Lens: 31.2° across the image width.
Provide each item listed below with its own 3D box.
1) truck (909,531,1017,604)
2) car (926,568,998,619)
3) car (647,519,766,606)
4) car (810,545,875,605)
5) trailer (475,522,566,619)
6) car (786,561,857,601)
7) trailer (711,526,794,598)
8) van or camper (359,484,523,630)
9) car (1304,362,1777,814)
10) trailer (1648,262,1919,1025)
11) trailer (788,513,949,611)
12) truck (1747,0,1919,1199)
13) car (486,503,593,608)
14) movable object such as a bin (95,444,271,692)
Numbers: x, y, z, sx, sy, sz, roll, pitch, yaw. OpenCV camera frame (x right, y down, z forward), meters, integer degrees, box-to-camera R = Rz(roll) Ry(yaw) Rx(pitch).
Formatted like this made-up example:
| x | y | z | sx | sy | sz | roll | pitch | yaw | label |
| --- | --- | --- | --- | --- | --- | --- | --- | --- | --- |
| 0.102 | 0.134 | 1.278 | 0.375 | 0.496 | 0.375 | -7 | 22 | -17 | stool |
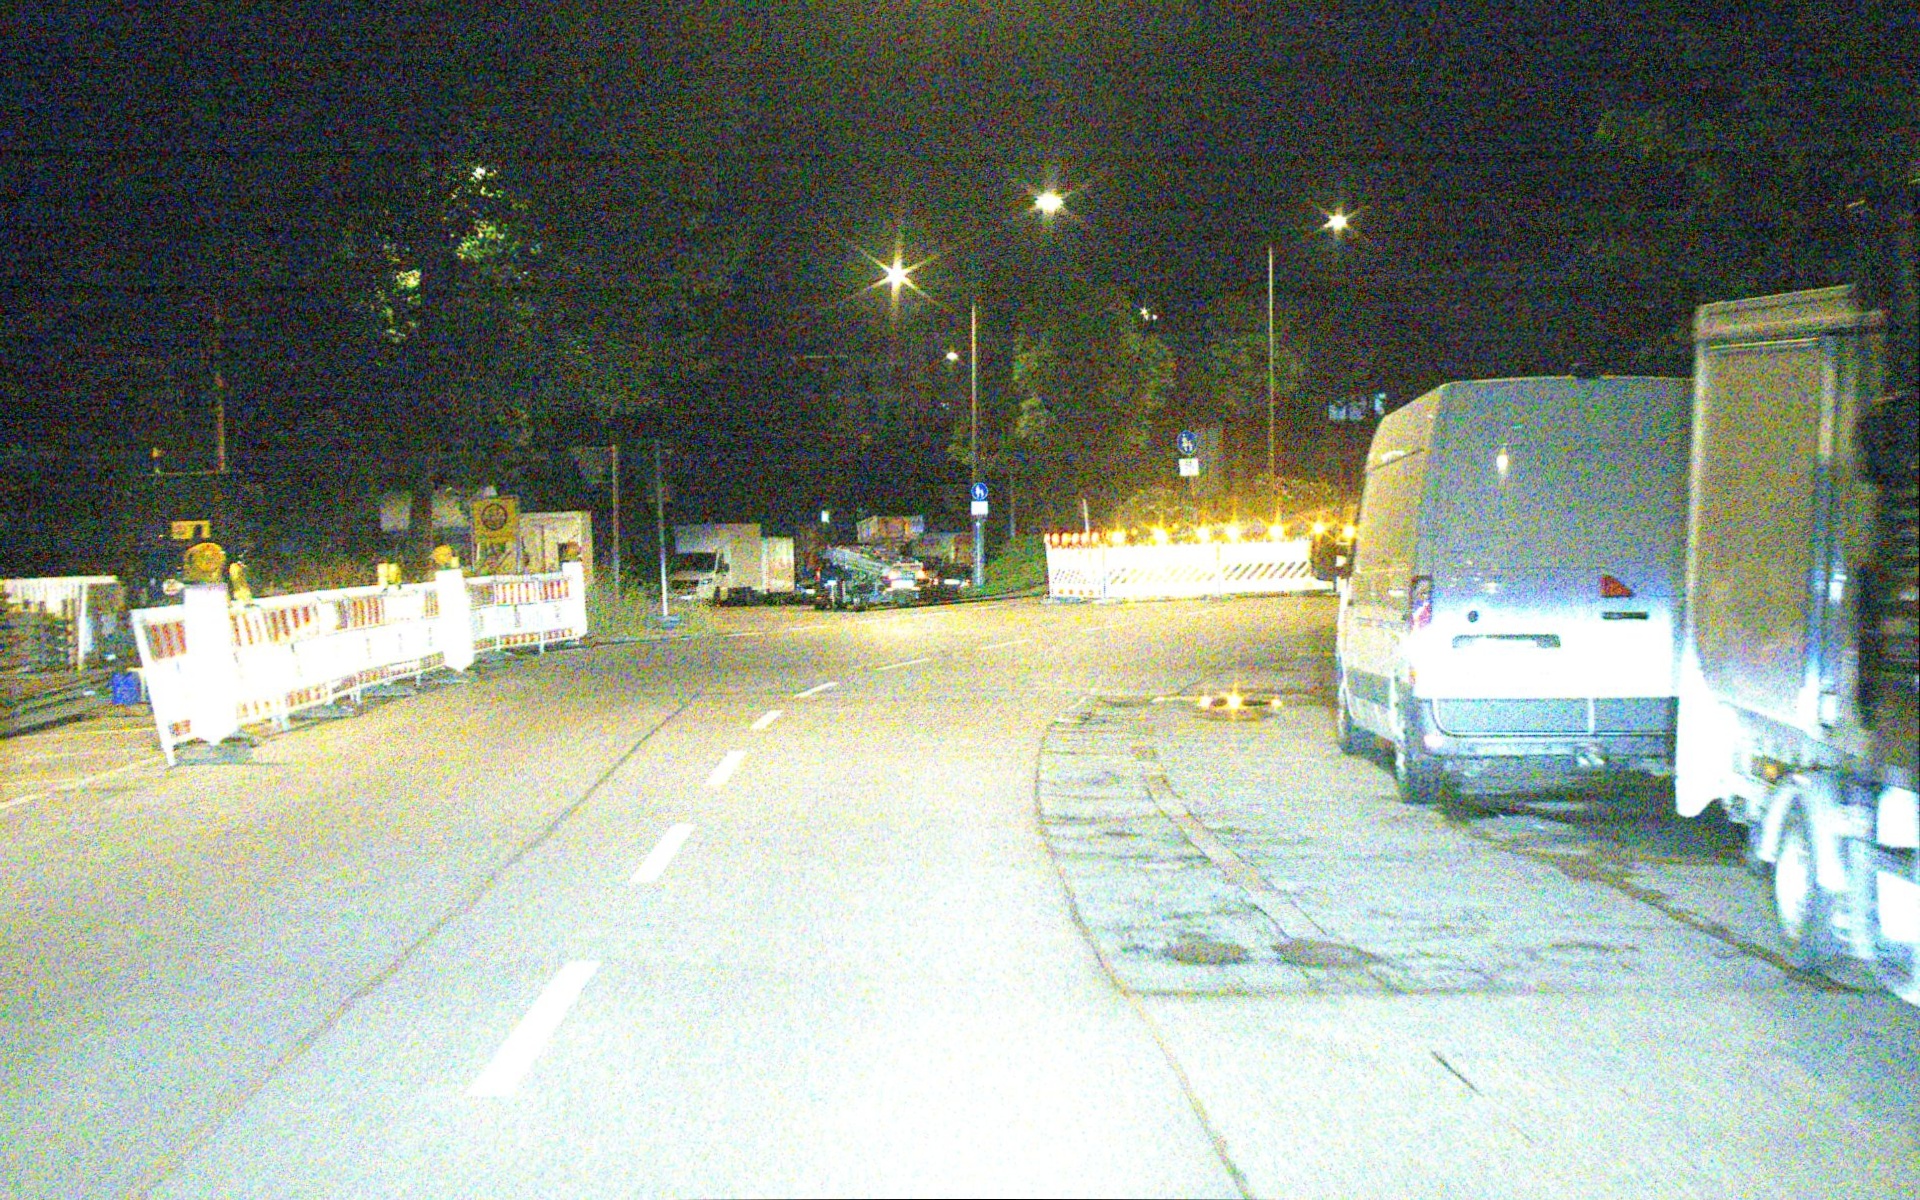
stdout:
| x | y | z | sx | sy | sz | roll | pitch | yaw | label |
| --- | --- | --- | --- | --- | --- | --- | --- | --- | --- |
| 0.200 | -1.622 | 167.900 | 1.996 | 3.392 | 8.969 | 1 | 2 | 23 | truck |
| 0.086 | -0.241 | 125.272 | 1.722 | 1.815 | 3.997 | 0 | 0 | 14 | car |
| -9.671 | -1.466 | 131.927 | 2.520 | 3.160 | 7.134 | -2 | 1 | 12 | car |
| -3.286 | -0.685 | 96.801 | 1.720 | 1.655 | 4.000 | 0 | 0 | -1 | car |
| -12.057 | -0.828 | 94.536 | 1.993 | 2.519 | 3.568 | -3 | 1 | -1 | trailer |
| -6.021 | -0.807 | 149.489 | 1.995 | 1.694 | 4.204 | 0 | 0 | 14 | car |
| -8.297 | -1.548 | 138.134 | 1.995 | 2.803 | 4.700 | -1 | 1 | 13 | trailer |
| -11.787 | -0.980 | 78.683 | 2.519 | 3.084 | 7.445 | -3 | 1 | 0 | van or camper |
| 3.539 | -0.154 | 22.286 | 2.108 | 2.507 | 6.372 | 0 | 2 | 1 | car |
| 3.890 | 0.100 | 12.584 | 1.632 | 2.465 | 5.028 | 0 | 2 | -1 | trailer |
| -2.219 | -0.886 | 81.957 | 1.559 | 2.153 | 5.222 | -3 | 0 | -28 | trailer |
| 3.933 | -0.468 | 4.760 | 3.324 | 3.855 | 9.329 | 0 | 1 | -1 | truck |
| -12.508 | -1.322 | 102.800 | 2.519 | 2.917 | 7.202 | -3 | 1 | -3 | car |
| -9.206 | -0.420 | 40.951 | 1.570 | 2.724 | 3.702 | -4 | 2 | -8 | movable object such as a bin |
